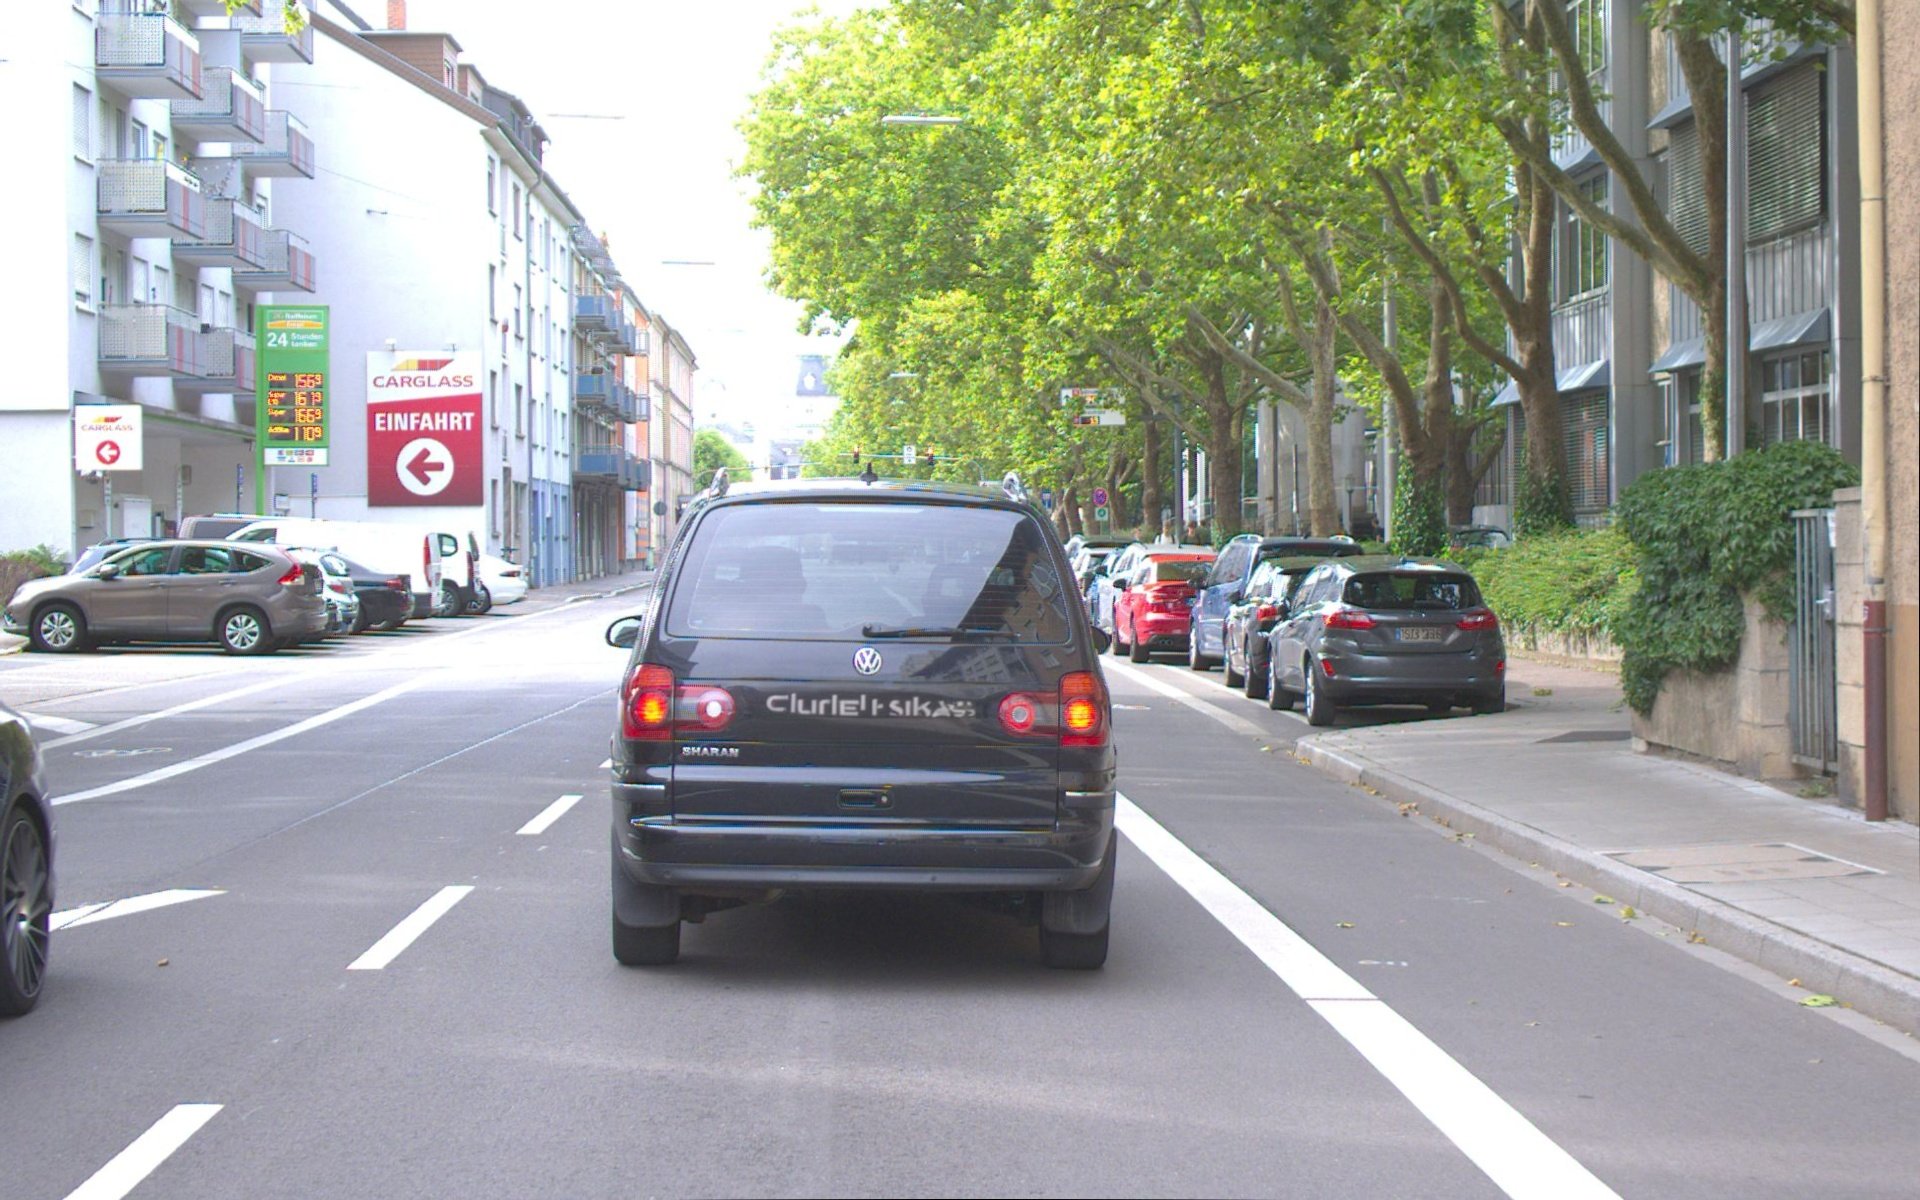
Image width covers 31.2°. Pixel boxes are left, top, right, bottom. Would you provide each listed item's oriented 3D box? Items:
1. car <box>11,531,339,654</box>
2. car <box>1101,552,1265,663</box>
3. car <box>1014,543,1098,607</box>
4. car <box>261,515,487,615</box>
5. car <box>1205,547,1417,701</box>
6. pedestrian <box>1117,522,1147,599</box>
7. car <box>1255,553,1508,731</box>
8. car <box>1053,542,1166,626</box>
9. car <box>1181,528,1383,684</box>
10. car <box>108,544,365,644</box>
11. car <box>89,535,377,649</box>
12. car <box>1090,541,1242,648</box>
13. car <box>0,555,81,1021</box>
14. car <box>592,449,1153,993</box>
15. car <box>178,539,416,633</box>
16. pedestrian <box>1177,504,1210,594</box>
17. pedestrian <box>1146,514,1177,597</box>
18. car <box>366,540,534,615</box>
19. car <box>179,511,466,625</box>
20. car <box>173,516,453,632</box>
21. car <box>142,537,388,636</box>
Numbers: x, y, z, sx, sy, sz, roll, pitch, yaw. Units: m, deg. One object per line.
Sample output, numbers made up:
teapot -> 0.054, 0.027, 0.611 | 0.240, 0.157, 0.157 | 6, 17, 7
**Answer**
car -> -11.236, -0.118, 49.420 | 4.256, 1.600, 1.968 | 1, 2, -1
car -> 2.909, 0.067, 45.696 | 1.675, 1.389, 4.461 | 0, 1, -3
car -> 2.213, -0.602, 80.198 | 1.675, 1.389, 4.461 | 2, 1, -2
car -> -11.899, -0.716, 70.048 | 4.307, 1.863, 1.824 | 2, 1, -3
car -> 3.605, 0.206, 35.876 | 1.657, 1.417, 3.947 | -1, 2, -2
pedestrian -> 3.846, -0.878, 76.957 | 0.587, 1.696, 0.508 | 1, 2, -1
car -> 3.746, 0.331, 31.121 | 1.657, 1.417, 3.867 | -1, 2, -2
car -> 2.651, -0.313, 61.695 | 1.629, 1.465, 4.318 | 0, 1, -3
car -> 3.747, 0.019, 40.711 | 1.657, 1.645, 4.421 | 2, 2, -4
car -> -11.327, -0.112, 54.010 | 3.681, 1.422, 1.754 | 2, 1, -3
car -> -10.948, -0.138, 51.942 | 3.940, 1.564, 1.753 | 2, 1, 1
car -> 3.027, -0.119, 51.429 | 1.727, 1.511, 4.872 | 1, 1, -3
car -> -3.769, 0.602, 9.153 | 1.810, 1.403, 4.609 | -1, 1, -2
car -> -0.369, 0.372, 13.065 | 1.812, 1.760, 3.738 | 0, 1, -3
car -> -11.153, -0.248, 58.023 | 3.681, 1.439, 1.753 | 2, 1, -2
pedestrian -> 5.202, -1.142, 76.702 | 0.643, 1.968, 0.692 | 1, 2, -1
pedestrian -> 4.511, -1.000, 76.942 | 0.587, 1.832, 0.692 | 1, 2, -1
car -> -10.721, -0.477, 72.454 | 3.342, 1.491, 1.596 | 1, 1, -3
car -> -11.709, -0.607, 63.414 | 4.915, 1.897, 2.000 | 2, 1, -2
car -> -11.416, -0.475, 60.884 | 4.526, 1.872, 2.047 | 2, 1, -1
car -> -11.314, -0.233, 56.149 | 3.681, 1.480, 1.754 | 2, 1, -3
